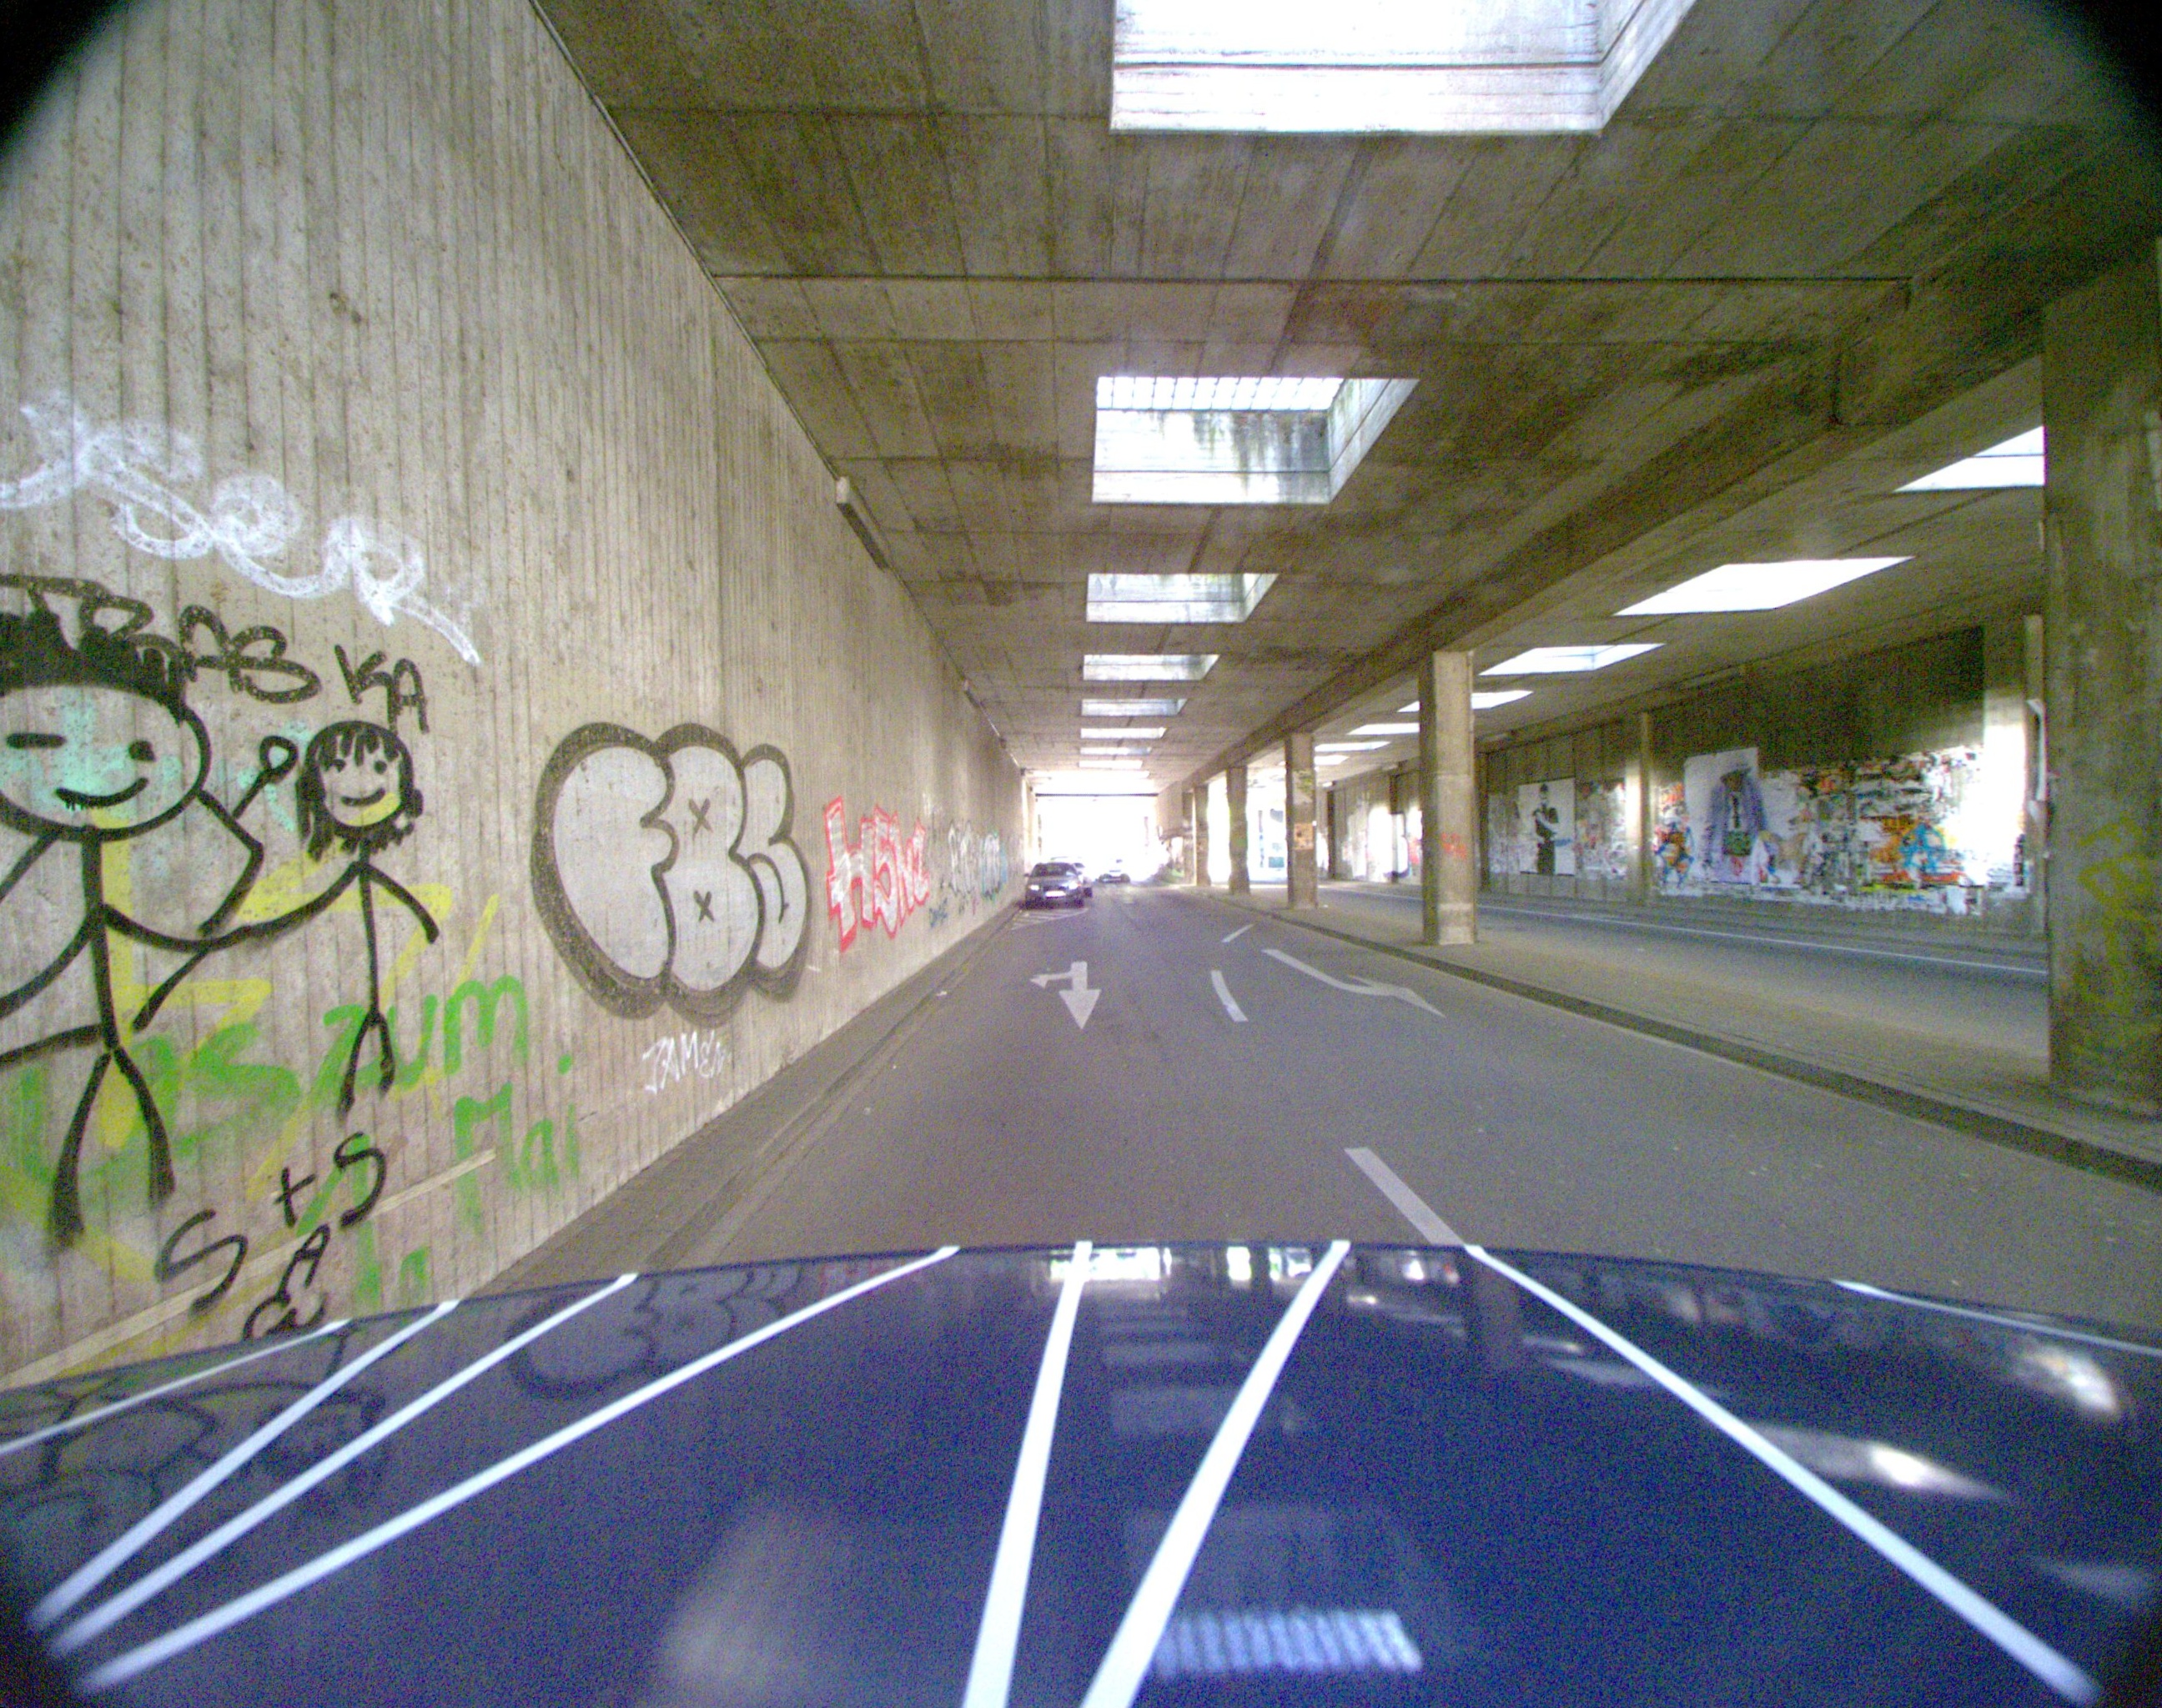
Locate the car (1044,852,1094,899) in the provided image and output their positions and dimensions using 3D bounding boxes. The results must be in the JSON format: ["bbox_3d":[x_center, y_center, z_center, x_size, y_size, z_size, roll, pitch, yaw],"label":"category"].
[{"bbox_3d":[-0.511,0.768,29.835,1.767,1.634,3.999,-2,1,-2],"label":"car"}]

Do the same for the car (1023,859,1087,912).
[{"bbox_3d":[-0.727,0.924,23.964,1.767,1.407,4.000,-2,1,1],"label":"car"}]

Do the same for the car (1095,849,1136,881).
[{"bbox_3d":[2.024,0.594,45.801,1.999,1.740,4.858,-2,1,-2],"label":"car"}]
